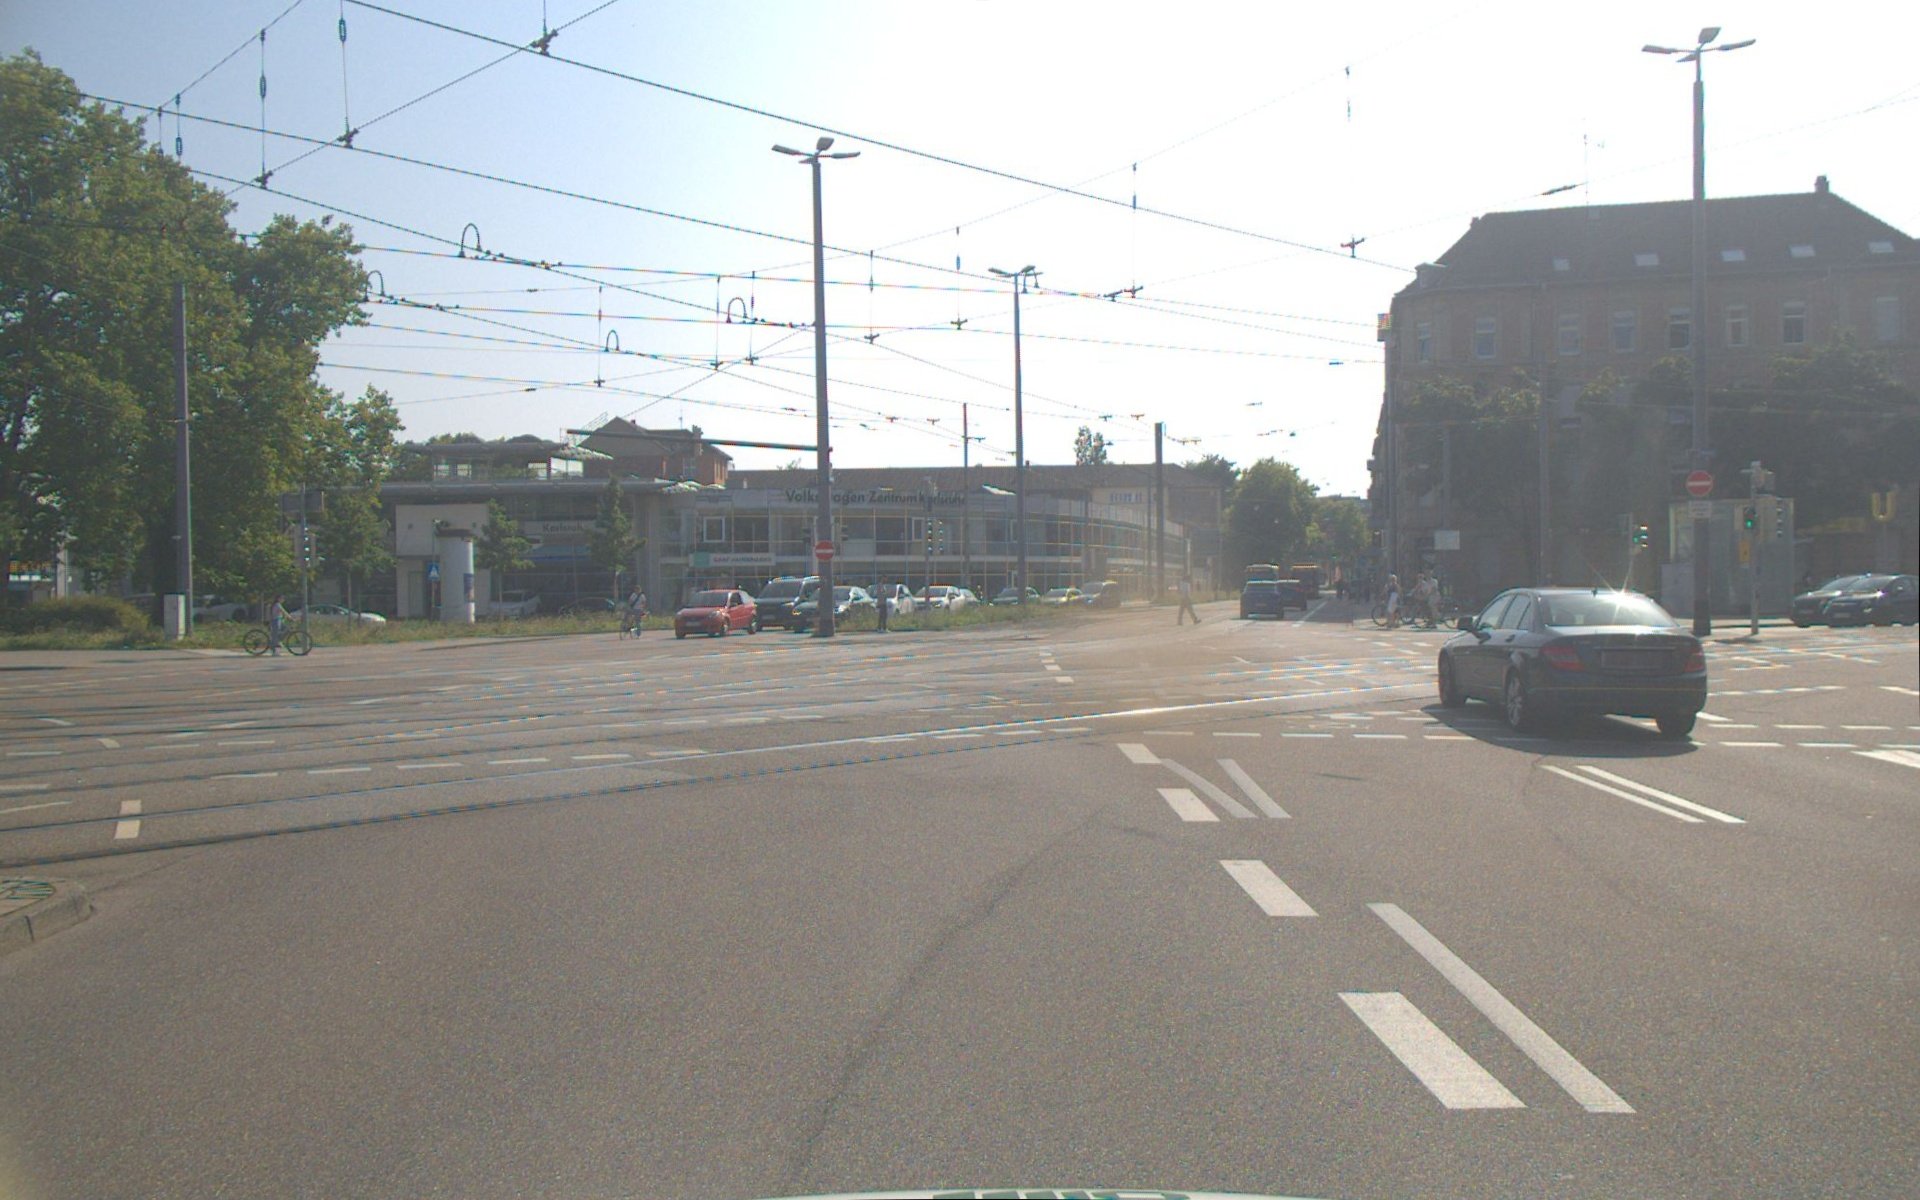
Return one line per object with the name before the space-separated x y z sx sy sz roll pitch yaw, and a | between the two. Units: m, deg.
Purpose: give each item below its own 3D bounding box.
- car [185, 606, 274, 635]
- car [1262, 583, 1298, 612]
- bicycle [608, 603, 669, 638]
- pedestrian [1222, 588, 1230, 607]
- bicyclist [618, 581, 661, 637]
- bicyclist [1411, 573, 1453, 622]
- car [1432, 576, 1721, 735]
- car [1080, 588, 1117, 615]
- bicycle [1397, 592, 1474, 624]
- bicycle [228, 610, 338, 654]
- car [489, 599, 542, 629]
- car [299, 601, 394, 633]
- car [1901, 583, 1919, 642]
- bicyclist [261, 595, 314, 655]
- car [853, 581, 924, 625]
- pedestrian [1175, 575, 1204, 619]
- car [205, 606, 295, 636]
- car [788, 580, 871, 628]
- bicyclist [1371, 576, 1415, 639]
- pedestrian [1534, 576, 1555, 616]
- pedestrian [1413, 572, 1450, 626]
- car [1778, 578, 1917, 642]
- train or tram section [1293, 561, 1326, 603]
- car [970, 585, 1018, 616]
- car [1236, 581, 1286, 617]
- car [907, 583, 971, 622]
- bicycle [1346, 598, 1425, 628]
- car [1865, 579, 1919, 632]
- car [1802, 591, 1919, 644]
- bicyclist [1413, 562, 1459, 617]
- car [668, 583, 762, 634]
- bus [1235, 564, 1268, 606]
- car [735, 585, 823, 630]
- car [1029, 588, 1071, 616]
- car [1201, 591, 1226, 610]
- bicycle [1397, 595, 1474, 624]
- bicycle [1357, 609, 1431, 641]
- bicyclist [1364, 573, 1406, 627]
car | -41.082 1.136 93.138 1.667 1.549 4.507 0 0 29
car | 17.127 -0.157 88.461 1.786 1.453 4.416 -1 0 12
bicycle | -10.337 0.644 53.294 0.937 1.075 2.610 0 0 14
pedestrian | 23.496 -0.257 145.969 0.582 1.659 0.638 -1 0 15
bicyclist | -10.336 0.292 53.305 0.937 1.779 1.167 0 0 14
bicyclist | 16.742 -0.076 58.681 0.922 1.709 1.084 -1 0 -25
car | 6.398 0.502 17.687 1.647 1.468 4.374 -1 0 3
car | 8.309 0.062 98.961 1.580 1.501 4.003 -3 0 14
bicycle | 15.287 0.245 53.138 2.601 0.981 1.078 -1 0 -40
bicycle | -17.853 0.843 43.682 2.557 1.075 0.957 -1 0 -16
car | -24.560 0.760 91.515 1.664 1.549 4.101 0 0 2
car | -30.170 0.826 81.345 4.000 1.549 1.706 0 0 3
car | 32.995 0.367 53.908 4.640 1.891 1.893 -1 0 -28
bicyclist | -17.768 0.662 43.710 1.143 1.554 0.957 1 -1 -16
car | -2.639 0.102 61.733 1.580 1.501 4.003 -3 0 13
pedestrian | 8.178 -0.107 59.008 0.766 1.529 0.706 -1 0 -20
car | -39.383 1.145 91.861 1.667 1.549 4.507 0 0 29
car | -4.318 0.123 55.309 1.580 1.501 4.003 -3 0 13
bicyclist | 14.348 0.253 54.810 0.928 2.059 1.078 -1 0 -39
pedestrian | 22.348 -0.157 63.255 0.537 1.496 0.663 -1 0 44
pedestrian | 15.986 -0.040 56.117 0.920 1.828 0.846 -1 0 -43
car | 27.400 0.297 51.032 4.192 1.891 1.891 -1 0 -30
train or tram section | 32.685 -1.692 154.895 2.598 3.763 10.599 -1 0 10
car | 1.804 0.020 85.959 1.580 1.501 4.003 -3 0 14
car | 12.693 -0.057 69.634 1.786 1.453 4.416 -1 0 14
car | -0.829 0.085 67.952 1.580 1.501 4.003 -3 0 14
bicycle | 14.701 0.450 57.123 2.586 0.981 1.084 -1 0 -26
car | 35.594 0.180 60.762 4.200 1.891 1.919 -1 0 -22
car | 26.093 0.455 46.819 4.327 1.421 2.003 -1 0 -30
bicyclist | 15.281 -0.347 53.140 0.928 1.738 1.078 -1 0 -39
car | -7.807 0.262 53.033 1.580 1.501 4.003 -3 0 13
bus | 27.525 -1.390 156.307 2.858 3.682 16.761 0 0 10
car | -6.525 0.246 60.160 1.919 1.501 4.003 -3 0 13
car | 5.084 0.110 93.172 1.580 1.501 4.003 -3 0 14
car | 20.489 0.035 133.789 1.580 1.501 4.003 -3 0 14
bicycle | 16.916 0.337 58.773 2.586 0.981 1.084 -1 0 -26
bicycle | 14.392 0.807 54.836 2.601 0.981 1.078 -1 0 -40
bicyclist | 14.682 -0.013 57.113 0.922 1.831 1.084 -1 0 -26
